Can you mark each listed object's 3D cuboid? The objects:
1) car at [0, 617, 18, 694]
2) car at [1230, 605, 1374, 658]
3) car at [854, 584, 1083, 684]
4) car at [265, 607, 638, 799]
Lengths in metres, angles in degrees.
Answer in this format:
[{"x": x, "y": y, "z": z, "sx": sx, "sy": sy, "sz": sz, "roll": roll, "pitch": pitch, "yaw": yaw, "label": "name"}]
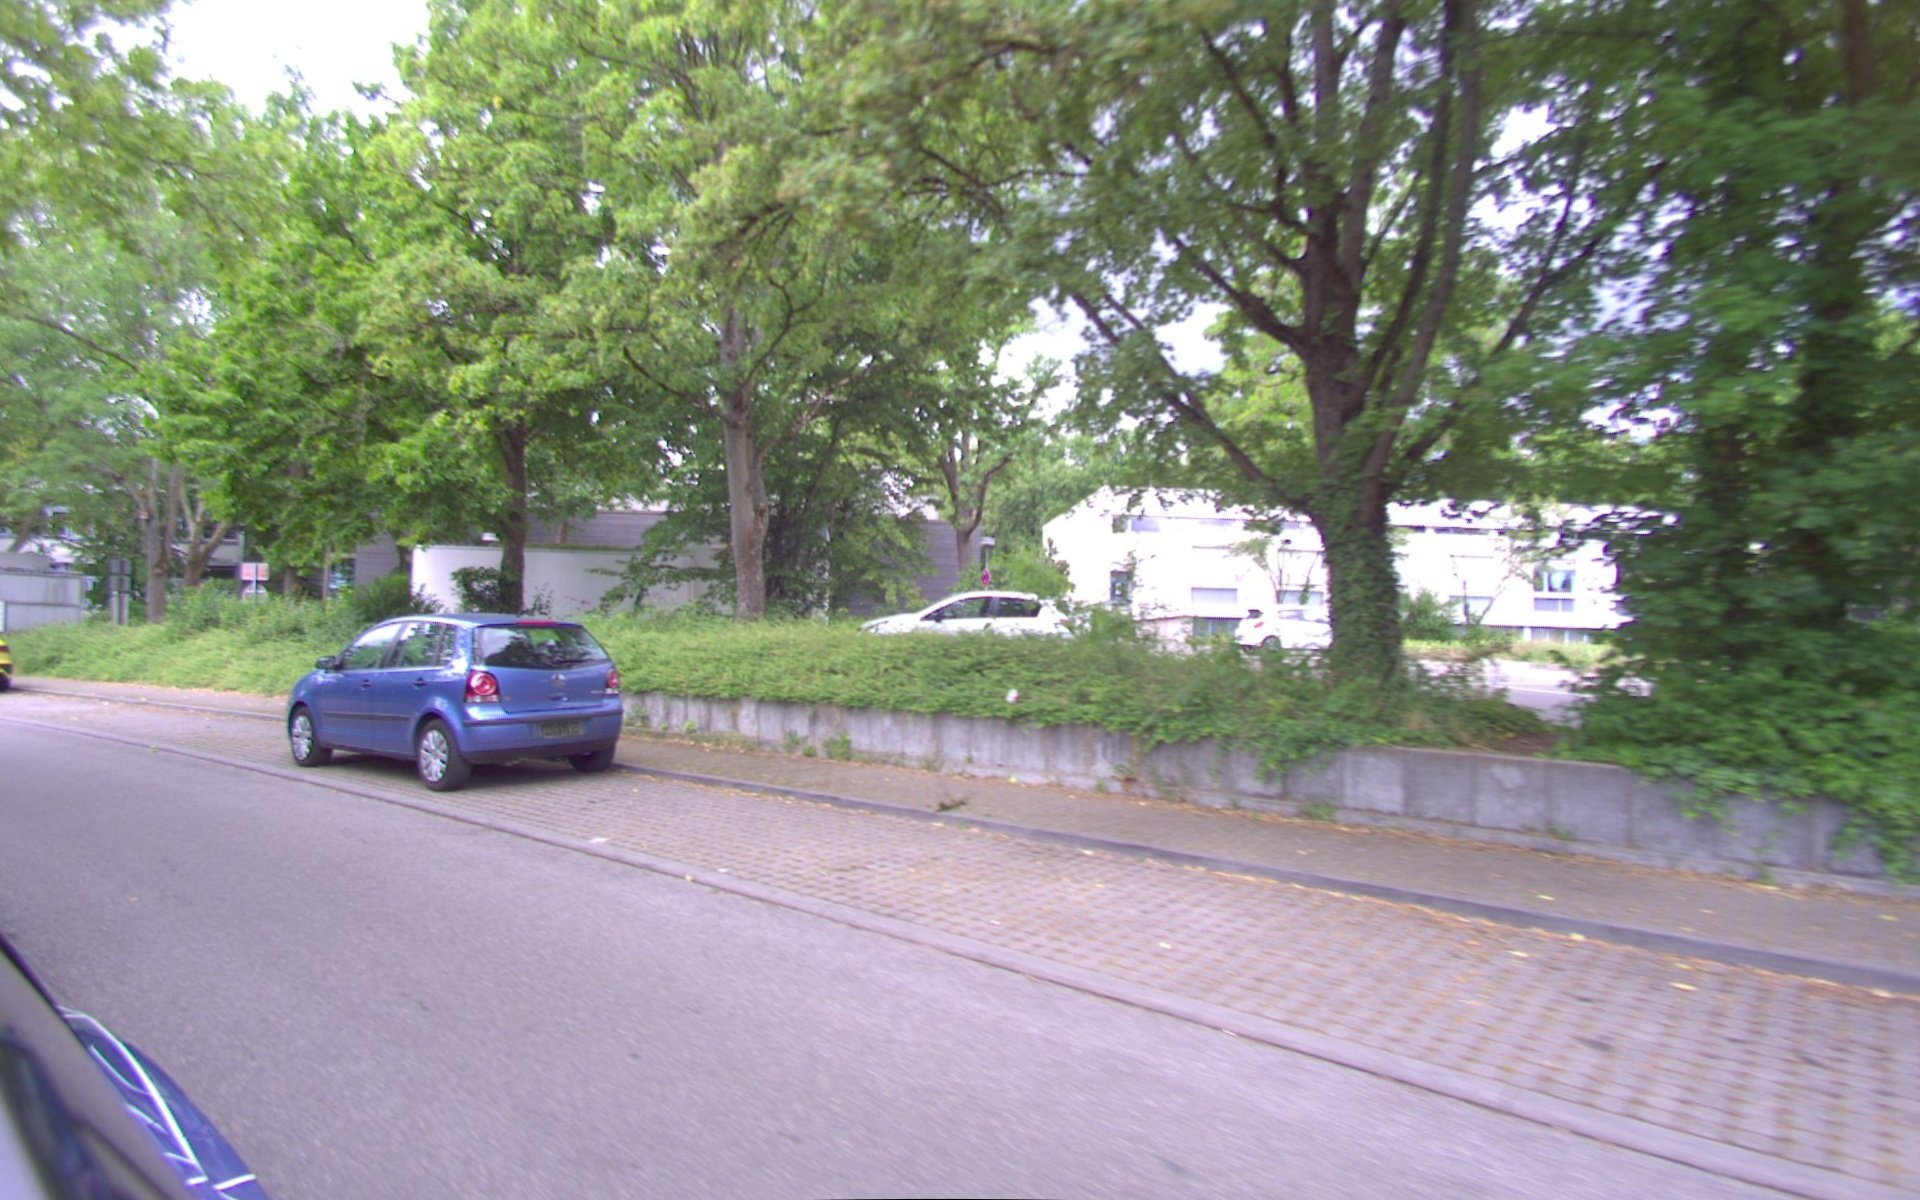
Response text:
[{"x": -19.952, "y": 1.017, "z": 19.219, "sx": 4.252, "sy": 1.413, "sz": 1.690, "roll": 0, "pitch": -2, "yaw": 28, "label": "car"}, {"x": 9.987, "y": 0.904, "z": 29.713, "sx": 3.563, "sy": 1.453, "sz": 1.791, "roll": 0, "pitch": 0, "yaw": -5, "label": "car"}, {"x": 0.090, "y": 0.618, "z": 17.701, "sx": 3.815, "sy": 1.634, "sz": 1.748, "roll": 1, "pitch": -3, "yaw": -4, "label": "car"}, {"x": -4.836, "y": 0.848, "z": 9.481, "sx": 3.711, "sy": 1.470, "sz": 1.520, "roll": -1, "pitch": -3, "yaw": 35, "label": "car"}]
